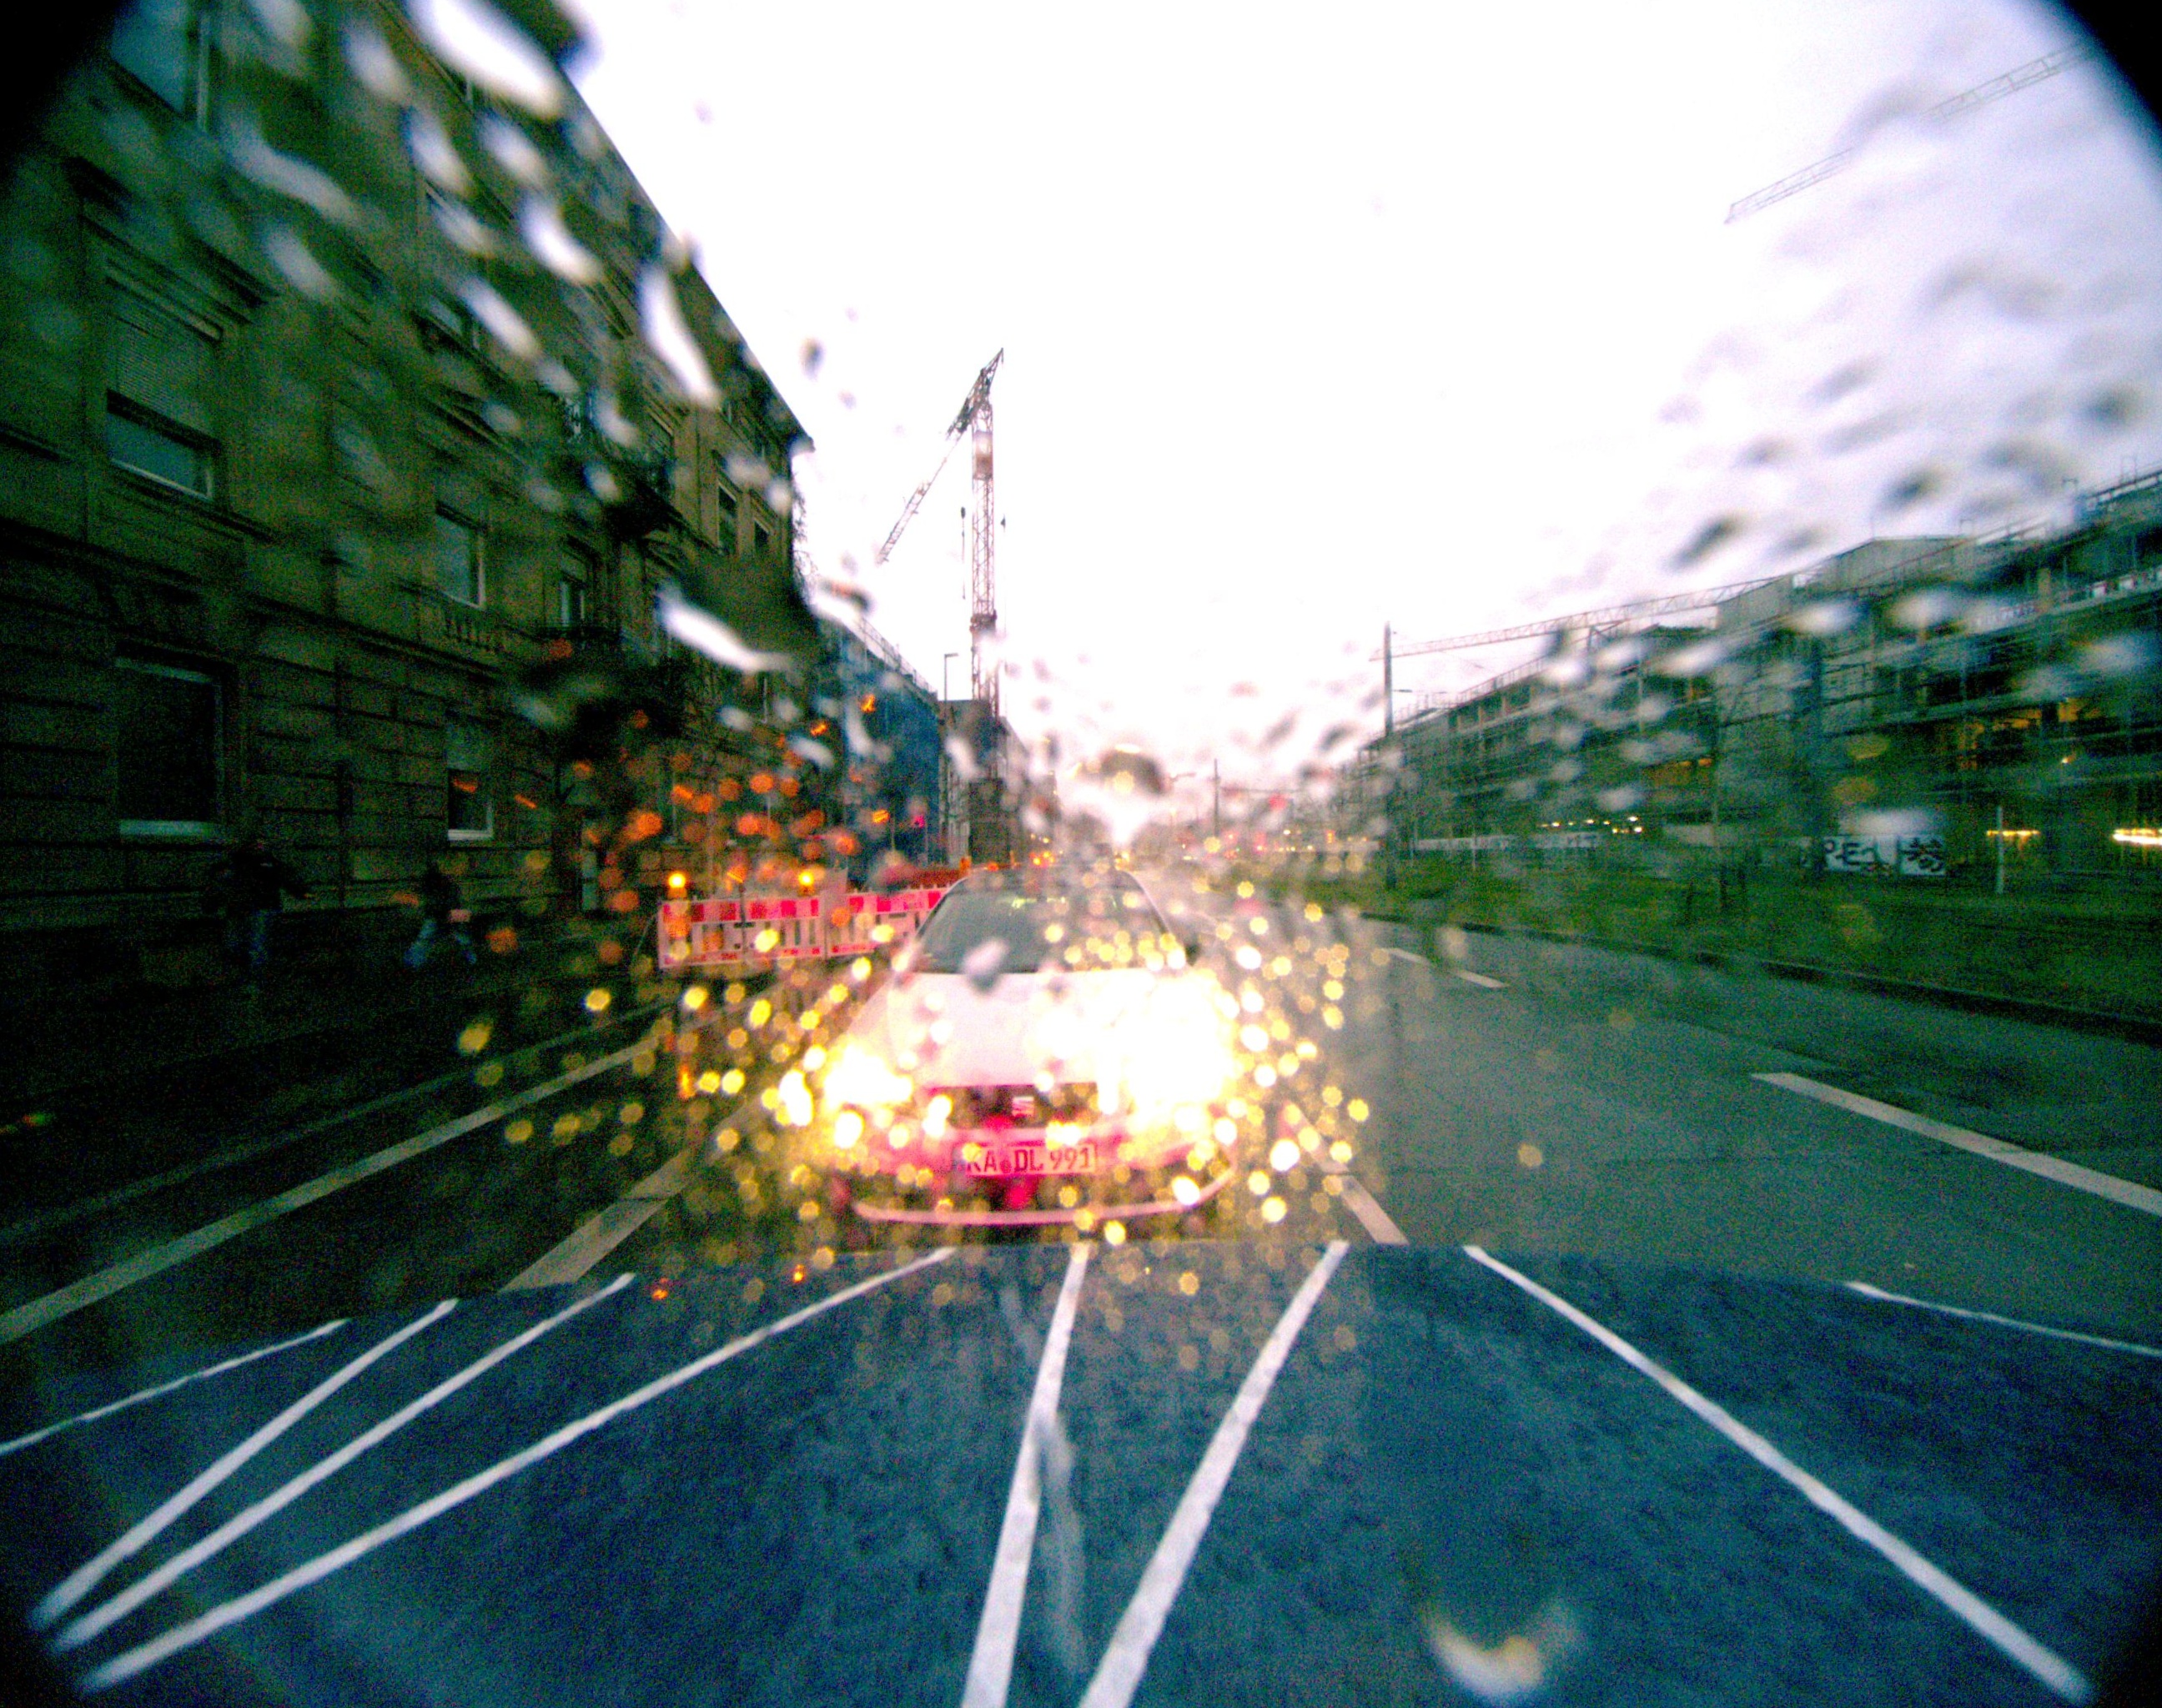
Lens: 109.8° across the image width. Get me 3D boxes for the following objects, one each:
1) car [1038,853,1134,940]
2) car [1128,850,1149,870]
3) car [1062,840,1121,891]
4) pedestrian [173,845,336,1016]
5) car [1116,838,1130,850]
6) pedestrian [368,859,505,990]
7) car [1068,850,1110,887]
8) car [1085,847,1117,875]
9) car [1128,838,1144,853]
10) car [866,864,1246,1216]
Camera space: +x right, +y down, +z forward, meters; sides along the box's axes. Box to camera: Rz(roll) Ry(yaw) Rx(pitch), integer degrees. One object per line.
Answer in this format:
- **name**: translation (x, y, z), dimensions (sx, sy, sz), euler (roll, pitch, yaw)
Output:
- **car**: translation (0.094, 0.801, 16.447), dimensions (1.769, 1.504, 3.899), euler (-3, 1, 0)
- **car**: translation (5.222, 0.516, 69.533), dimensions (1.768, 1.614, 3.900), euler (-3, 1, 4)
- **car**: translation (0.309, 0.326, 25.571), dimensions (1.769, 1.504, 3.899), euler (-3, 1, 0)
- **pedestrian**: translation (-8.429, 0.748, 7.781), dimensions (0.870, 1.663, 0.707), euler (0, 1, 4)
- **car**: translation (5.924, -1.399, 107.046), dimensions (1.768, 1.614, 3.900), euler (-3, 1, 4)
- **pedestrian**: translation (-7.963, 0.833, 9.435), dimensions (0.870, 1.536, 0.929), euler (0, 1, 1)
- **car**: translation (0.353, 0.636, 35.569), dimensions (1.769, 1.504, 3.899), euler (-3, 1, 0)
- **car**: translation (1.163, 0.394, 45.522), dimensions (1.769, 1.504, 3.899), euler (-3, 1, 0)
- **car**: translation (6.320, -1.007, 87.354), dimensions (1.768, 1.614, 3.900), euler (-3, 1, 4)
- **car**: translation (-0.121, 0.930, 5.633), dimensions (1.769, 1.504, 3.899), euler (-3, 1, 0)
